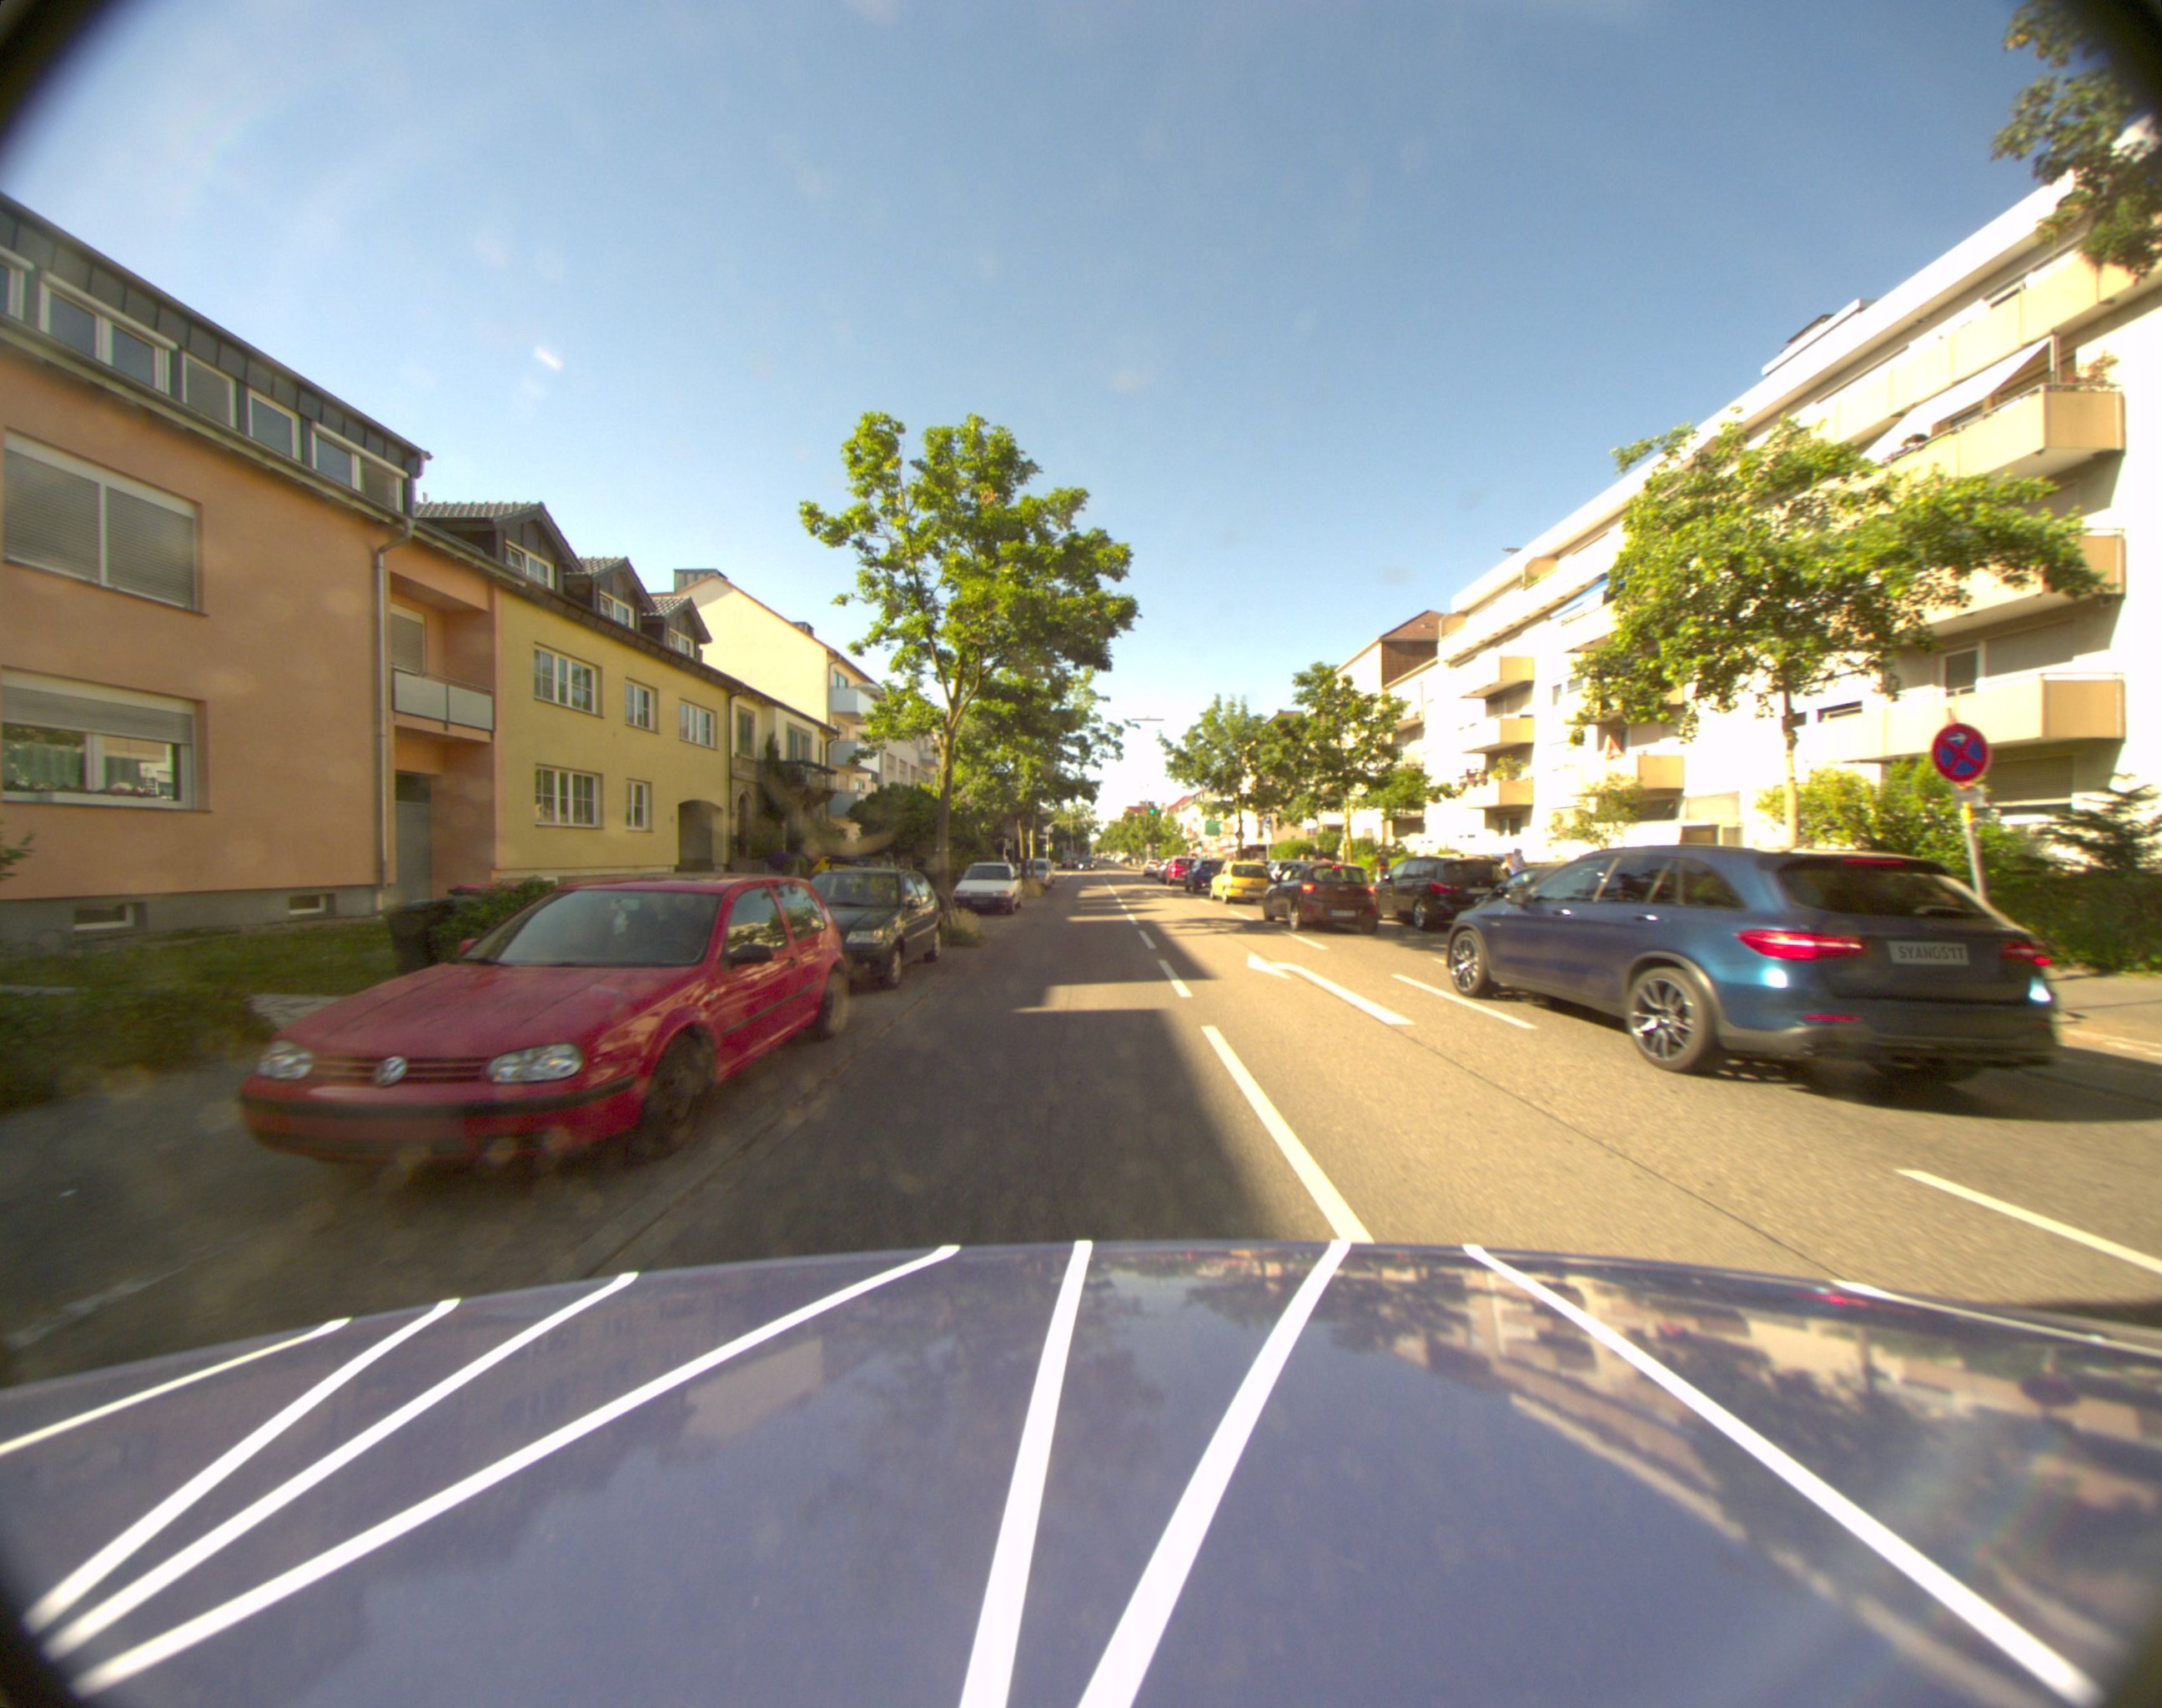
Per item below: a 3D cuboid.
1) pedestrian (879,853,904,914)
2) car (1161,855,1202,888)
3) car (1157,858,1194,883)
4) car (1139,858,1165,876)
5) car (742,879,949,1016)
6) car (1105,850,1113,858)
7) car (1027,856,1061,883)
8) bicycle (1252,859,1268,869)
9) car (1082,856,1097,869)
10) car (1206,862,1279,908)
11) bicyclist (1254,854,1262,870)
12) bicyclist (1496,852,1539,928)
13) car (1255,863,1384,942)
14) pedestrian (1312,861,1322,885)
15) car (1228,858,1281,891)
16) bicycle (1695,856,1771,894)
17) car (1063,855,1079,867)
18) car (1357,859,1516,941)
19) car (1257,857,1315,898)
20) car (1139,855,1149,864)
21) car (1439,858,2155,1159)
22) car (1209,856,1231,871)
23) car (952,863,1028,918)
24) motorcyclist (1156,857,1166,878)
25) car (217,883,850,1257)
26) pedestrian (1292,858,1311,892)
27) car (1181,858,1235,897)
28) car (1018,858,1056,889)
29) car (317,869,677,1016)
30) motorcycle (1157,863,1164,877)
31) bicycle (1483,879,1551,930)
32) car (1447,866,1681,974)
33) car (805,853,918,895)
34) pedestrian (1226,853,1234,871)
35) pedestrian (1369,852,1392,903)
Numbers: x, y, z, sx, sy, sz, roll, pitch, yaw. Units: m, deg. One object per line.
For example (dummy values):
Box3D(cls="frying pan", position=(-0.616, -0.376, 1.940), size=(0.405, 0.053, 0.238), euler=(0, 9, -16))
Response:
Box3D(cls="pedestrian", position=(-5.223, 0.810, 20.938), size=(0.539, 1.667, 0.493), euler=(1, 1, 1))
Box3D(cls="car", position=(5.519, 0.932, 42.034), size=(1.726, 1.607, 4.300), euler=(3, 0, 2))
Box3D(cls="car", position=(6.004, 1.001, 48.595), size=(1.818, 1.456, 4.778), euler=(2, 0, 1))
Box3D(cls="car", position=(5.941, 1.047, 64.184), size=(1.702, 1.398, 4.506), euler=(2, 0, 0))
Box3D(cls="car", position=(-2.860, 1.061, 10.027), size=(1.535, 1.348, 3.718), euler=(0, 0, 1))
Box3D(cls="car", position=(7.311, -0.004, 200.999), size=(1.965, 1.910, 5.496), euler=(0, 0, 1))
Box3D(cls="car", position=(-2.222, 0.905, 46.042), size=(1.743, 1.473, 4.196), euler=(1, 0, 1))
Box3D(cls="bicycle", position=(18.290, 1.027, 77.729), size=(1.565, 1.070, 0.449), euler=(0, 1, -1))
Box3D(cls="car", position=(0.967, 0.934, 85.508), size=(1.654, 1.348, 4.304), euler=(0, 0, 1))
Box3D(cls="car", position=(5.476, 1.018, 26.119), size=(1.639, 1.395, 3.736), euler=(2, 0, -1))
Box3D(cls="bicyclist", position=(18.094, 0.794, 77.704), size=(0.685, 1.598, 0.578), euler=(0, 1, -1))
Box3D(cls="bicyclist", position=(10.219, 0.822, 17.818), size=(0.610, 1.744, 0.691), euler=(0, 1, 1))
Box3D(cls="car", position=(5.140, 0.980, 16.887), size=(1.585, 1.443, 3.744), euler=(3, 0, -1))
Box3D(cls="pedestrian", position=(11.810, 0.957, 38.077), size=(0.335, 1.153, 0.490), euler=(-1, 0, 0))
Box3D(cls="car", position=(8.173, 0.929, 36.025), size=(1.508, 1.467, 3.895), euler=(-1, 0, -2))
Box3D(cls="bicycle", position=(18.833, 0.603, 21.988), size=(1.556, 1.054, 0.505), euler=(-2, -1, 28))
Box3D(cls="car", position=(-1.274, 0.882, 98.959), size=(1.822, 1.541, 4.304), euler=(0, 0, 1))
Box3D(cls="car", position=(8.007, 0.949, 17.600), size=(1.674, 1.596, 4.394), euler=(-1, 0, 1))
Box3D(cls="car", position=(8.098, 0.890, 30.245), size=(1.404, 1.480, 3.686), euler=(-1, 0, 2))
Box3D(cls="car", position=(8.925, 0.787, 107.640), size=(1.322, 1.348, 3.093), euler=(0, 0, 1))
Box3D(cls="car", position=(5.009, 0.869, 6.415), size=(1.841, 1.604, 4.400), euler=(2, 0, 0))
Box3D(cls="car", position=(15.407, 1.041, 84.465), size=(1.764, 1.613, 4.304), euler=(0, 0, 1))
Box3D(cls="car", position=(-2.560, 0.990, 22.098), size=(1.653, 1.395, 3.970), euler=(2, 0, 1))
Box3D(cls="motorcyclist", position=(6.253, 1.038, 59.451), size=(0.730, 1.637, 0.918), euler=(2, 1, 6))
Box3D(cls="car", position=(-2.866, 0.983, 5.055), size=(1.536, 1.441, 3.717), euler=(0, 0, 0))
Box3D(cls="pedestrian", position=(11.079, 1.026, 38.257), size=(0.671, 1.677, 0.929), euler=(-1, 0, 0))
Box3D(cls="car", position=(5.512, 0.969, 33.370), size=(1.660, 1.508, 4.076), euler=(2, 0, 1))
Box3D(cls="car", position=(-2.177, 0.930, 38.548), size=(1.570, 1.448, 3.865), euler=(1, 0, 2))
Box3D(cls="car", position=(-6.840, 0.922, 9.468), size=(1.535, 1.348, 3.718), euler=(2, 0, 1))
Box3D(cls="motorcycle", position=(6.232, 1.242, 59.527), size=(0.449, 1.115, 1.933), euler=(2, 0, 5))
Box3D(cls="bicycle", position=(10.221, 1.160, 17.869), size=(0.610, 1.066, 1.743), euler=(0, 0, 1))
Box3D(cls="car", position=(7.917, 0.986, 12.938), size=(1.605, 1.468, 3.932), euler=(-1, 0, 3))
Box3D(cls="car", position=(-8.903, 0.797, 31.084), size=(3.997, 1.432, 1.831), euler=(3, 0, 1))
Box3D(cls="pedestrian", position=(13.826, 0.768, 70.645), size=(0.659, 1.649, 0.682), euler=(0, 1, 2))
Box3D(cls="pedestrian", position=(9.972, 0.773, 25.332), size=(0.470, 1.641, 0.719), euler=(-1, 1, 1))
